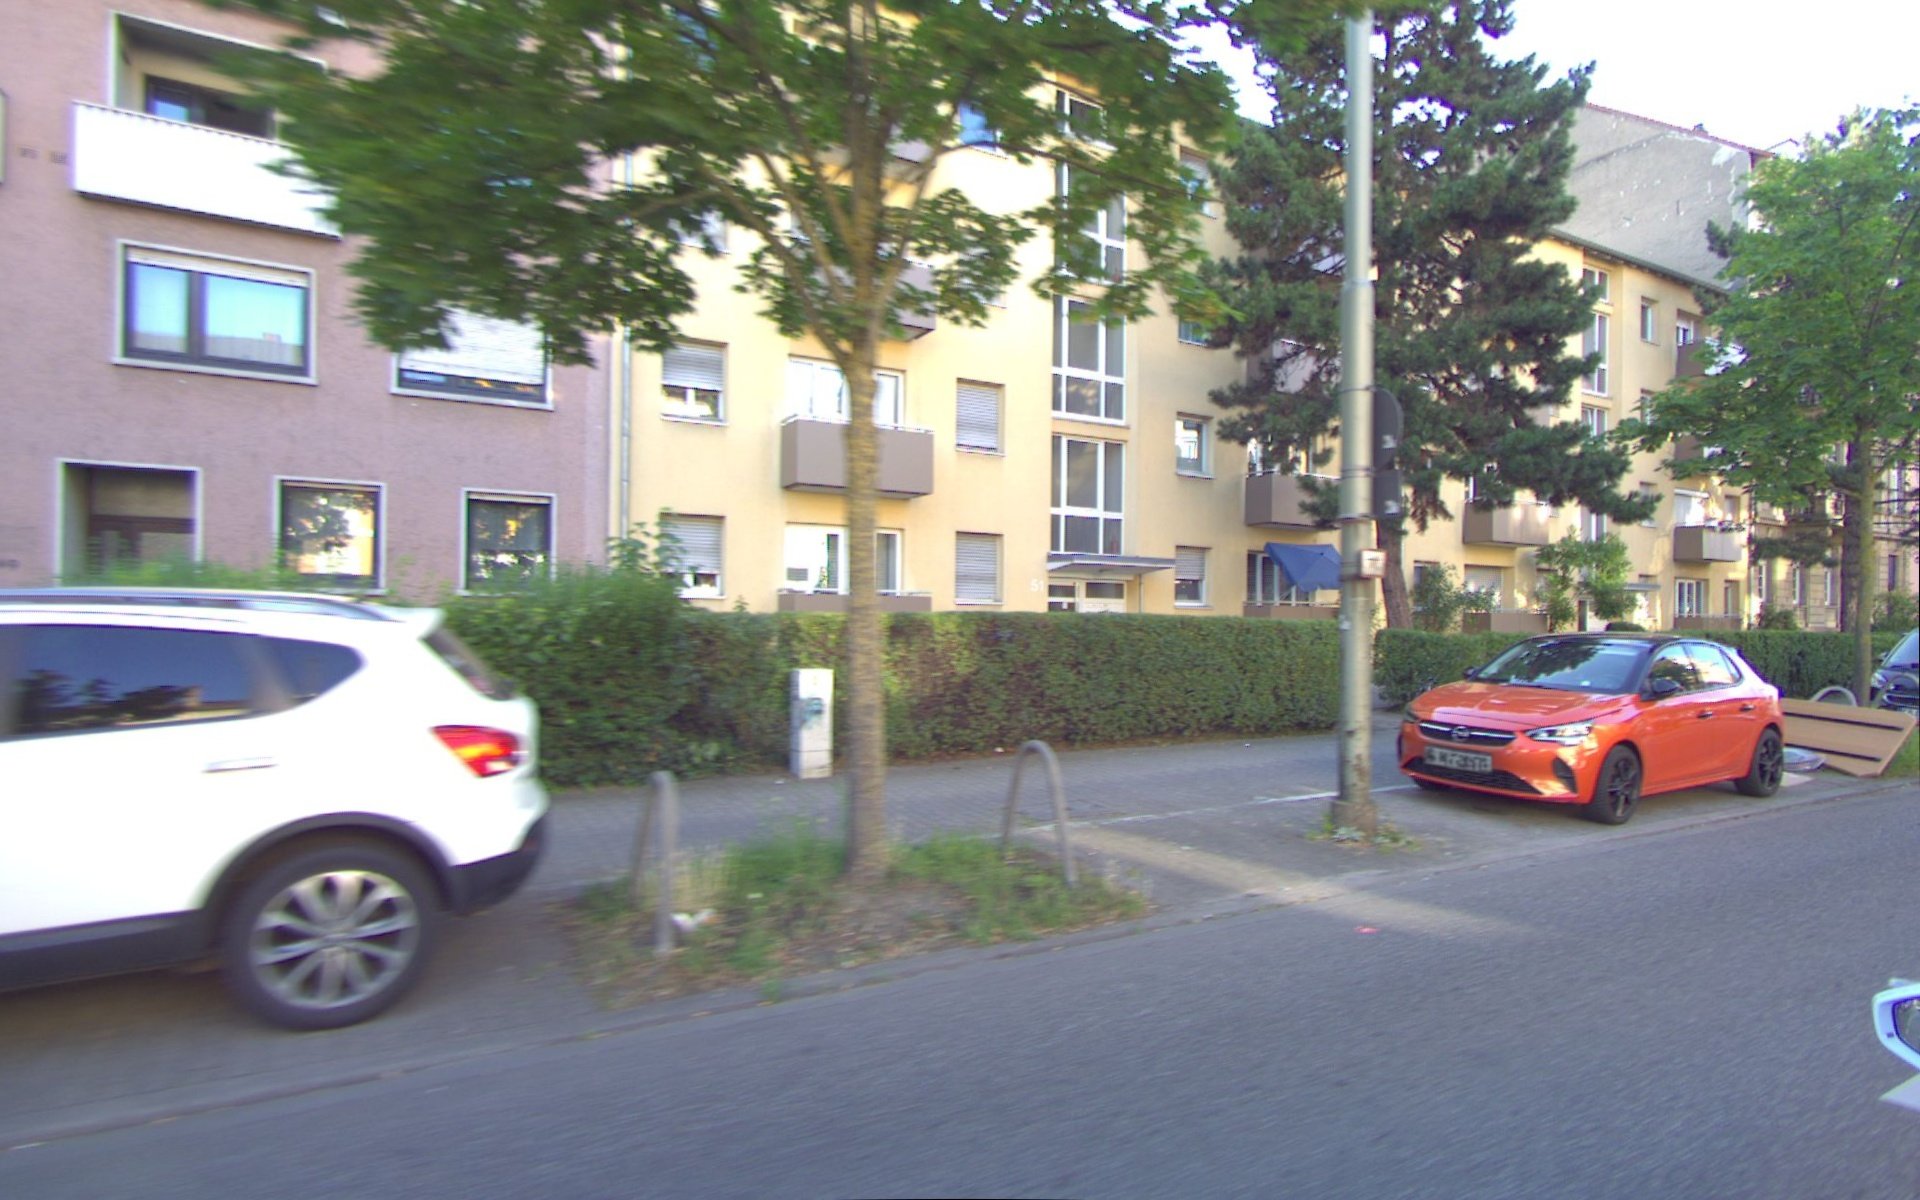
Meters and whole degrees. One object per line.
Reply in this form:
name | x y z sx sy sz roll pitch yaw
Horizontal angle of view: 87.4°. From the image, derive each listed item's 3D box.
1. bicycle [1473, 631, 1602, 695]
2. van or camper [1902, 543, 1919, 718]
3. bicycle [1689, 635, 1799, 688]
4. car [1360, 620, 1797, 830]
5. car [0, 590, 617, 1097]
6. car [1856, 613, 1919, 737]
bicycle | 10.030 1.062 17.531 0.575 0.938 1.927 1 2 -28
van or camper | 17.714 0.544 16.344 5.950 2.699 2.024 1 1 -33
bicycle | 16.593 1.279 21.303 0.582 0.994 1.751 1 0 -28
car | 5.593 0.938 8.998 3.877 1.471 1.709 1 0 -30
car | -3.642 0.773 3.879 4.136 1.609 1.768 1 0 -30
car | 13.571 0.995 13.504 2.727 1.569 1.398 1 1 -28
